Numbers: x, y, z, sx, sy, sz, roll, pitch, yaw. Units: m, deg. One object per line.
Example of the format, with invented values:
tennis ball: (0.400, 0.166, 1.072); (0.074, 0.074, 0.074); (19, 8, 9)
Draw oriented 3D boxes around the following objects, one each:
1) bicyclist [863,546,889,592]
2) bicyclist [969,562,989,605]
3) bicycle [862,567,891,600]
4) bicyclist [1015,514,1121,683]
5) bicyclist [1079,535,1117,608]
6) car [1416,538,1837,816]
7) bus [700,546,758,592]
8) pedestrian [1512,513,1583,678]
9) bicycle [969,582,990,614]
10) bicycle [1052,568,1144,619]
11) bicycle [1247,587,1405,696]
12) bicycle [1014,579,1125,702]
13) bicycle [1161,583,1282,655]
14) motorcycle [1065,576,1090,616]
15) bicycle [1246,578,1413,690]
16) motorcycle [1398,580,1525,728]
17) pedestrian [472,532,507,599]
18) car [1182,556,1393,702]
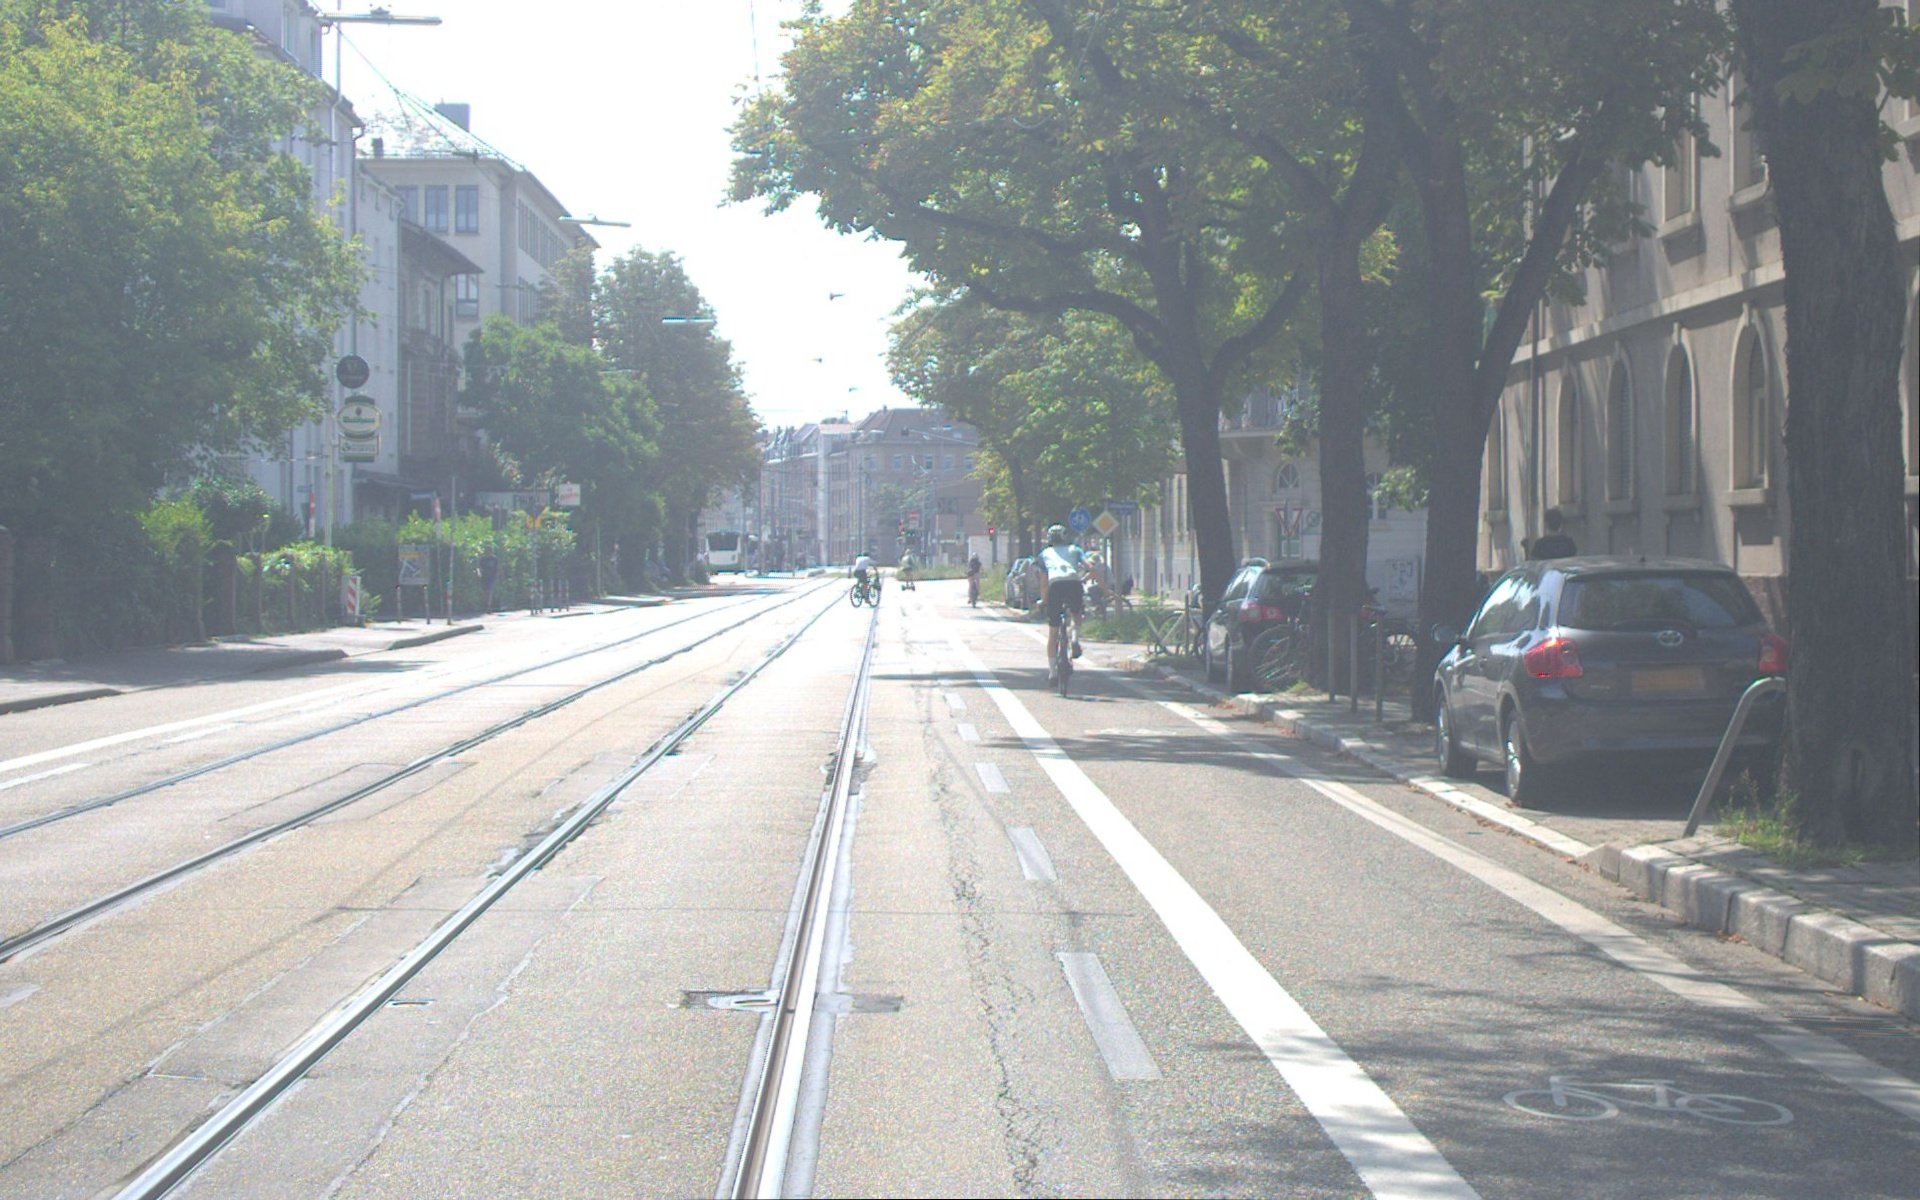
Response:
bicyclist: (-2.517, -0.929, 103.012); (0.758, 1.387, 0.779); (0, 0, 2)
bicyclist: (0.576, -0.493, 103.024); (0.579, 1.274, 0.471); (0, 0, 1)
bicycle: (-2.501, -0.490, 103.196); (0.758, 0.987, 2.298); (0, 0, 1)
bicyclist: (1.175, -0.018, 37.600); (1.125, 1.830, 0.956); (0, 0, 0)
bicyclist: (3.121, -0.647, 77.748); (0.824, 1.637, 0.785); (0, 1, 5)
car: (4.219, 0.419, 22.399); (1.840, 1.527, 4.115); (0, 2, -1)
bus: (-17.199, -2.307, 257.384); (3.735, 3.352, 15.120); (0, 0, -2)
pedestrian: (6.764, -0.057, 39.620); (0.706, 1.885, 0.714); (0, 0, 1)
bicycle: (0.582, -0.075, 103.103); (0.588, 0.936, 2.172); (0, 0, 1)
bicycle: (3.127, -0.150, 77.760); (2.035, 1.147, 0.785); (0, 1, 5)
bicycle: (3.769, 0.424, 35.458); (1.606, 1.100, 0.398); (0, 1, 6)
bicycle: (1.176, 0.424, 37.641); (1.148, 1.265, 2.712); (0, 1, 0)
bicycle: (3.784, 0.268, 49.861); (1.713, 1.028, 0.566); (0, 0, 0)
motorcycle: (3.147, -0.117, 92.000); (0.549, 1.064, 2.330); (0, 0, -1)
bicycle: (3.849, 0.349, 35.846); (1.723, 1.145, 0.377); (0, 1, 6)
motorcycle: (4.450, 0.459, 30.636); (0.710, 1.251, 2.177); (0, 1, -3)
pedestrian: (-12.501, -0.914, 91.302); (0.779, 1.750, 1.040); (-1, 0, -1)
car: (3.714, 0.284, 39.747); (1.840, 1.527, 4.780); (-1, 1, -1)
